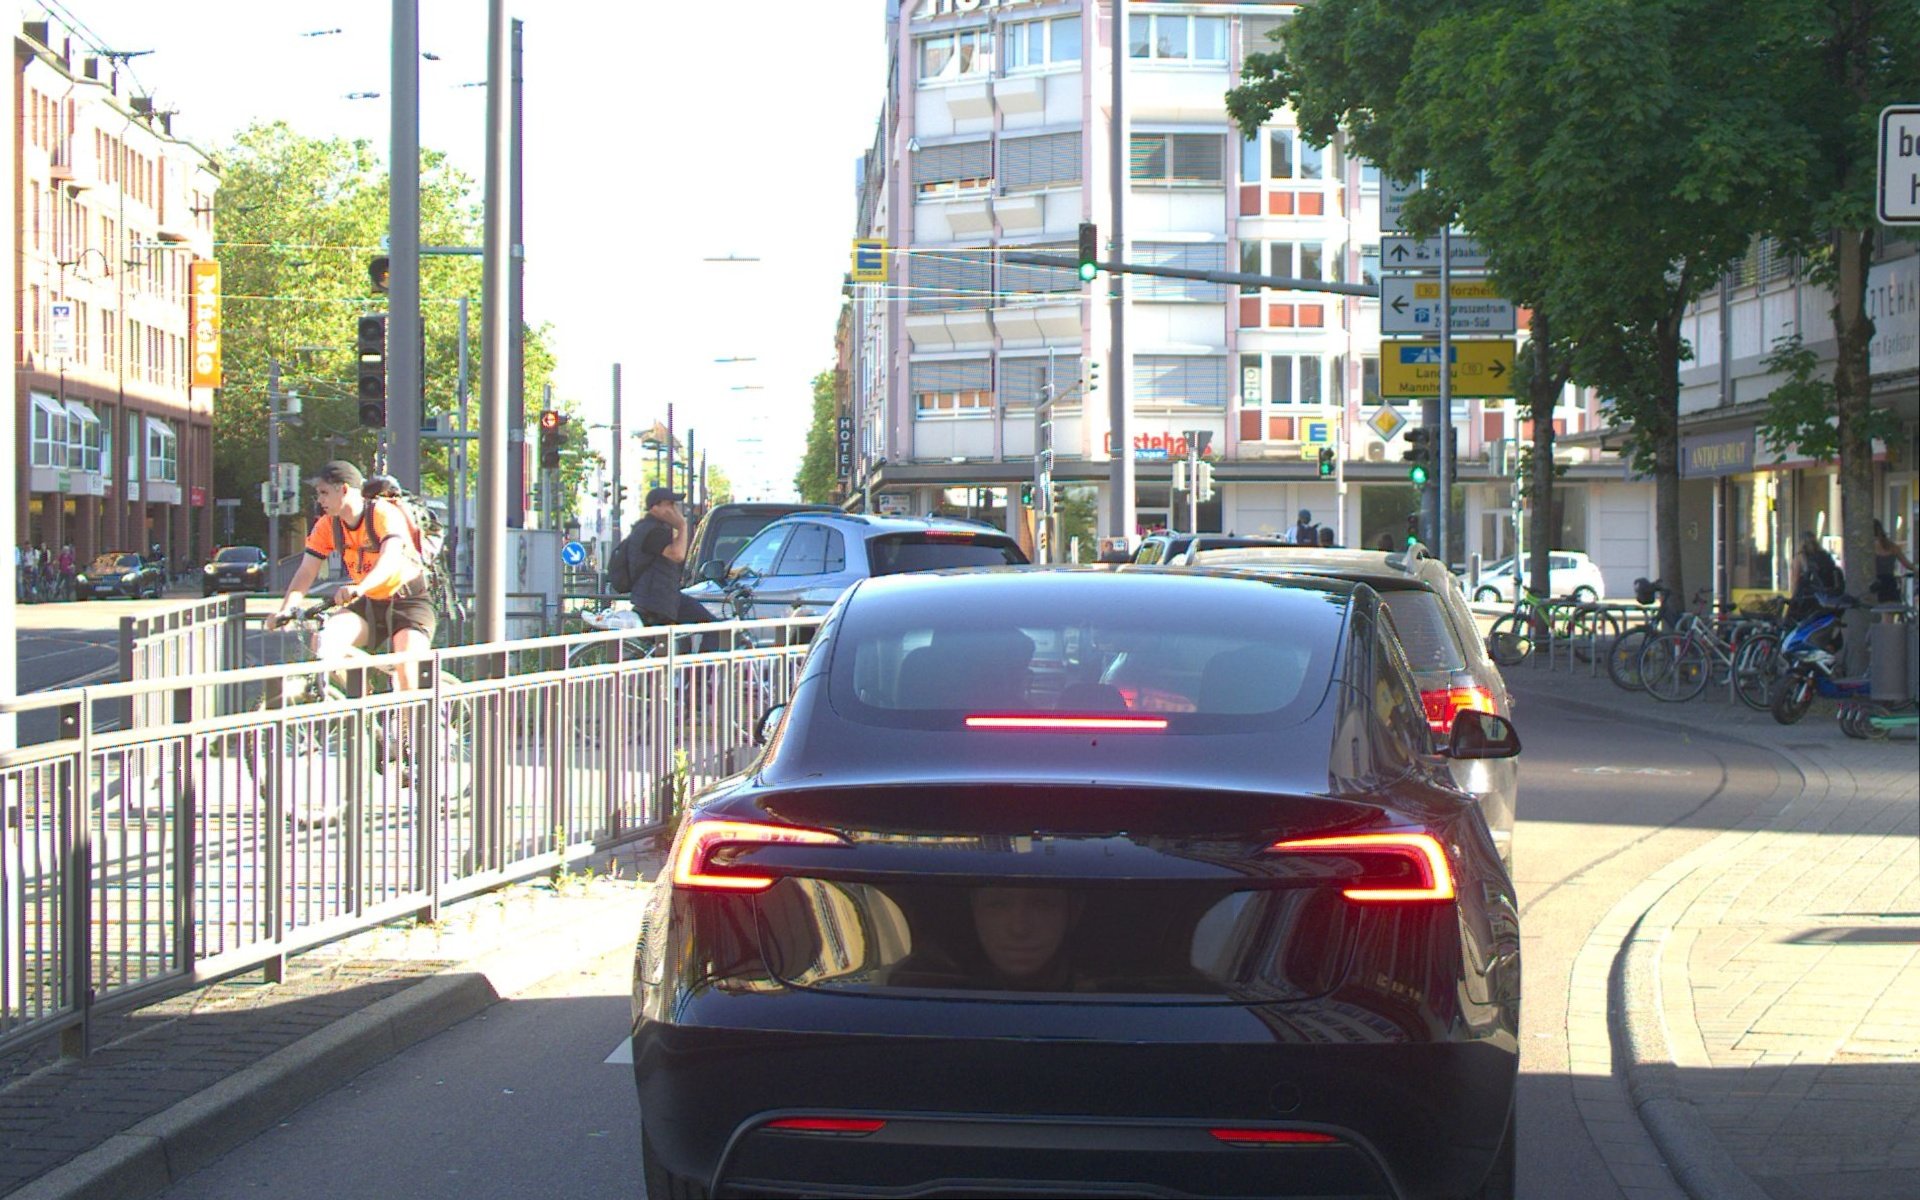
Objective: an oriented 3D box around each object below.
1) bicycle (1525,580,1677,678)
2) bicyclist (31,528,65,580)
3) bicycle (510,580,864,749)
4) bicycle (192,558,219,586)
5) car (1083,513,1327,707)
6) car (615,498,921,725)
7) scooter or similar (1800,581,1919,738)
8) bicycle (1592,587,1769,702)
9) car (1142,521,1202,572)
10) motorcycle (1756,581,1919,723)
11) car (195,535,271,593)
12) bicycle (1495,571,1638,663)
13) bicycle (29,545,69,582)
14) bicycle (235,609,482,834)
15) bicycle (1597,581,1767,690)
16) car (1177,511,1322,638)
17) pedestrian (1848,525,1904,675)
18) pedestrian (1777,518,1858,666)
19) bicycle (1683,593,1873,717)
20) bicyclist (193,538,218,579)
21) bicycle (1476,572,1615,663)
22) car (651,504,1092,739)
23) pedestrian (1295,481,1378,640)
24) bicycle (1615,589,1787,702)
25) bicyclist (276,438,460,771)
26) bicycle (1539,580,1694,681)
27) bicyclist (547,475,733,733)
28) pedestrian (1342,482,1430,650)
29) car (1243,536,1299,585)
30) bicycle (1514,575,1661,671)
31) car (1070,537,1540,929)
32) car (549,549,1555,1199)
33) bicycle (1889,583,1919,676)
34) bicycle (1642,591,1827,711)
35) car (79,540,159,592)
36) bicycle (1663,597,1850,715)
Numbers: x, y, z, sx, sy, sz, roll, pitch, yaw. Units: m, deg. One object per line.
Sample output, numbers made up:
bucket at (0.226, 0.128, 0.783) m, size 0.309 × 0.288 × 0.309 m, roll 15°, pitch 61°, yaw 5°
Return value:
bicycle at (7.328, 0.325, 39.324) m, size 1.650 × 1.095 × 0.350 m, roll 1°, pitch 0°, yaw 1°
bicyclist at (-27.201, -1.368, 102.546) m, size 0.784 × 1.558 × 0.746 m, roll 0°, pitch 1°, yaw 2°
bicycle at (-1.759, 0.407, 22.452) m, size 2.329 × 1.050 × 0.631 m, roll 0°, pitch 1°, yaw -38°
bicycle at (-29.437, -1.079, 134.153) m, size 0.529 × 1.085 × 2.224 m, roll 1°, pitch 1°, yaw 1°
car at (2.324, 0.071, 33.603) m, size 1.598 × 1.772 × 3.982 m, roll 1°, pitch 1°, yaw -7°
car at (-1.896, 0.073, 32.638) m, size 1.993 × 2.007 × 4.001 m, roll 0°, pitch 1°, yaw -17°
scooter or similar at (7.557, 0.470, 27.185) m, size 1.644 × 1.211 × 0.644 m, roll 1°, pitch 0°, yaw 30°
bicycle at (6.999, 0.430, 33.396) m, size 1.649 × 1.095 × 0.350 m, roll 1°, pitch 0°, yaw -10°
car at (4.740, -1.189, 76.784) m, size 0.922 × 1.096 × 1.866 m, roll 1°, pitch 1°, yaw 16°
motorcycle at (7.712, 0.441, 29.286) m, size 1.707 × 1.169 × 0.541 m, roll 1°, pitch 0°, yaw -2°
car at (-22.389, -1.106, 105.997) m, size 1.697 × 1.725 × 3.707 m, roll 1°, pitch 1°, yaw -3°
bicycle at (7.297, 0.208, 41.382) m, size 1.650 × 1.095 × 0.350 m, roll 0°, pitch 1°, yaw 1°
bicycle at (-27.168, -1.109, 102.559) m, size 0.529 × 1.085 × 2.284 m, roll 0°, pitch 1°, yaw 2°
bicycle at (-2.815, 0.545, 16.218) m, size 0.403 × 0.990 × 1.601 m, roll 1°, pitch 1°, yaw 19°
bicycle at (7.417, 0.365, 35.344) m, size 1.650 × 1.095 × 0.350 m, roll 1°, pitch 0°, yaw 1°
car at (4.144, -0.378, 49.748) m, size 1.719 × 1.745 × 3.754 m, roll 1°, pitch 1°, yaw -1°
pedestrian at (10.467, -0.004, 39.295) m, size 0.526 × 1.704 × 0.403 m, roll 1°, pitch 0°, yaw 5°
pedestrian at (9.752, -0.090, 39.134) m, size 0.699 × 1.656 × 0.777 m, roll 1°, pitch 0°, yaw -1°
bicycle at (7.383, 0.493, 31.024) m, size 1.649 × 1.095 × 0.350 m, roll 1°, pitch 0°, yaw -10°
bicyclist at (-29.463, -1.619, 134.218) m, size 0.784 × 1.558 × 0.746 m, roll 1°, pitch 0°, yaw 2°
bicycle at (7.229, 0.217, 42.476) m, size 1.650 × 1.095 × 0.350 m, roll 1°, pitch 0°, yaw 1°
car at (-0.777, 0.129, 26.488) m, size 1.883 × 1.656 × 4.159 m, roll 1°, pitch 1°, yaw -25°
pedestrian at (4.847, -0.506, 44.308) m, size 0.921 × 2.007 × 0.972 m, roll 1°, pitch 0°, yaw -1°
bicycle at (7.343, 0.447, 34.077) m, size 1.649 × 1.095 × 0.350 m, roll 1°, pitch 0°, yaw -10°
bicyclist at (-2.786, 0.016, 16.241) m, size 0.391 × 1.516 × 1.043 m, roll 1°, pitch 0°, yaw 19°
bicycle at (7.308, 0.339, 38.297) m, size 1.650 × 1.095 × 0.350 m, roll 1°, pitch 0°, yaw 1°
bicyclist at (-2.066, 0.019, 22.162) m, size 0.758 × 1.623 × 0.978 m, roll 0°, pitch 1°, yaw -39°
pedestrian at (5.181, -0.416, 41.869) m, size 0.921 × 2.007 × 0.972 m, roll 1°, pitch 0°, yaw -1°
car at (7.140, -0.918, 78.795) m, size 0.922 × 1.096 × 1.866 m, roll -1°, pitch 1°, yaw 16°
bicycle at (7.360, 0.265, 40.336) m, size 1.650 × 1.095 × 0.350 m, roll 1°, pitch 0°, yaw 1°
car at (1.507, 0.465, 15.020) m, size 1.751 × 1.449 × 3.999 m, roll 1°, pitch 1°, yaw 6°
car at (0.309, 0.625, 8.300) m, size 1.829 × 1.450 × 3.999 m, roll 1°, pitch 1°, yaw 4°
bicycle at (10.884, 0.329, 39.171) m, size 0.332 × 1.030 × 1.256 m, roll 1°, pitch 0°, yaw 4°
bicycle at (7.180, 0.474, 31.869) m, size 1.649 × 1.095 × 0.350 m, roll 1°, pitch 0°, yaw -10°
car at (-25.125, -1.017, 102.808) m, size 1.710 × 1.521 × 4.037 m, roll 1°, pitch 1°, yaw -5°
bicycle at (7.285, 0.512, 31.445) m, size 1.649 × 1.057 × 0.350 m, roll 1°, pitch 0°, yaw -10°
